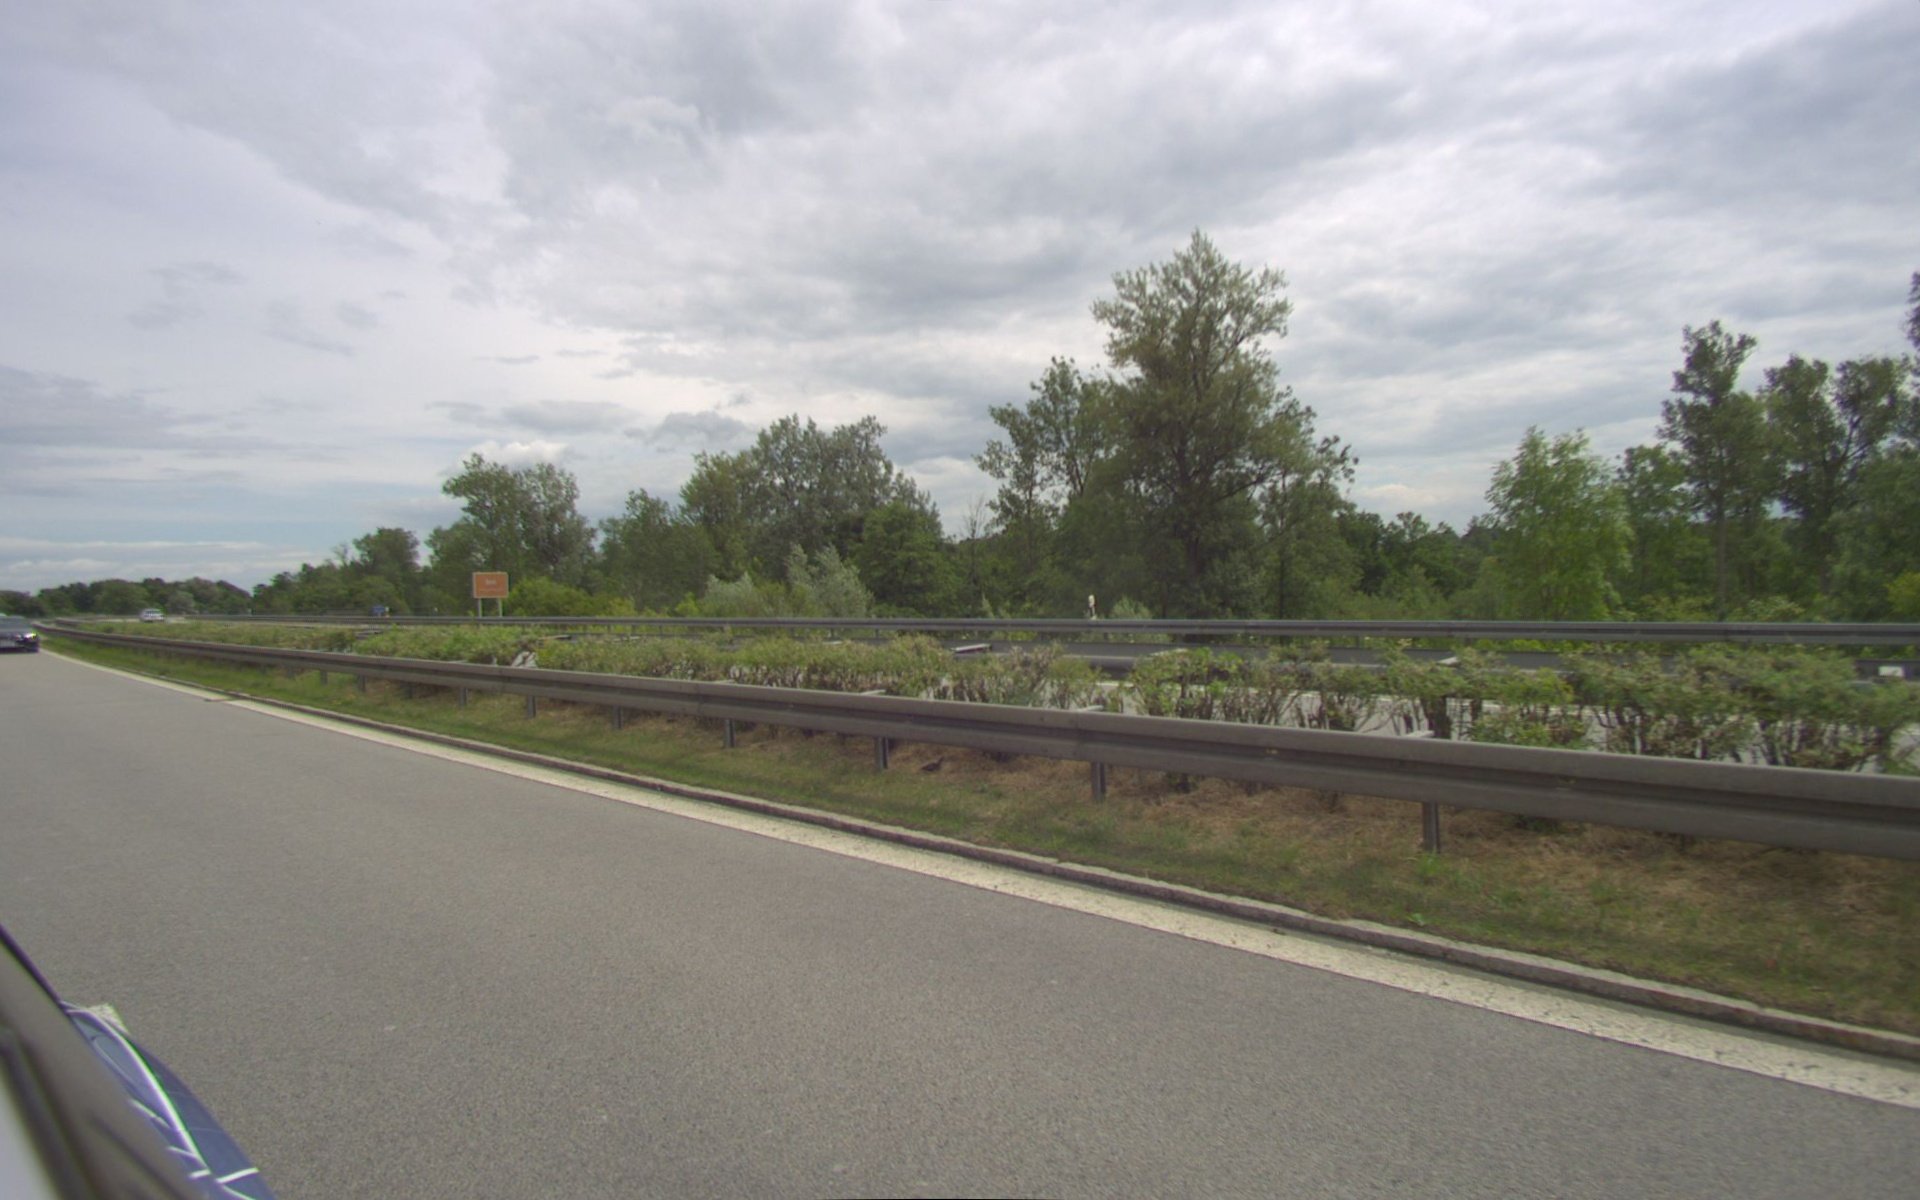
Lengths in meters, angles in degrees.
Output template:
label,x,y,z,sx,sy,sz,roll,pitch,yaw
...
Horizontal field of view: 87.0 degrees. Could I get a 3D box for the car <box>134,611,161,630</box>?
label,x,y,z,sx,sy,sz,roll,pitch,yaw
car,-76.719,1.931,95.562,1.623,1.728,4.986,-2,0,-43

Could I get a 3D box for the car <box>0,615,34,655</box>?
label,x,y,z,sx,sy,sz,roll,pitch,yaw
car,-37.649,1.397,39.626,4.698,1.494,1.751,-3,-3,44
